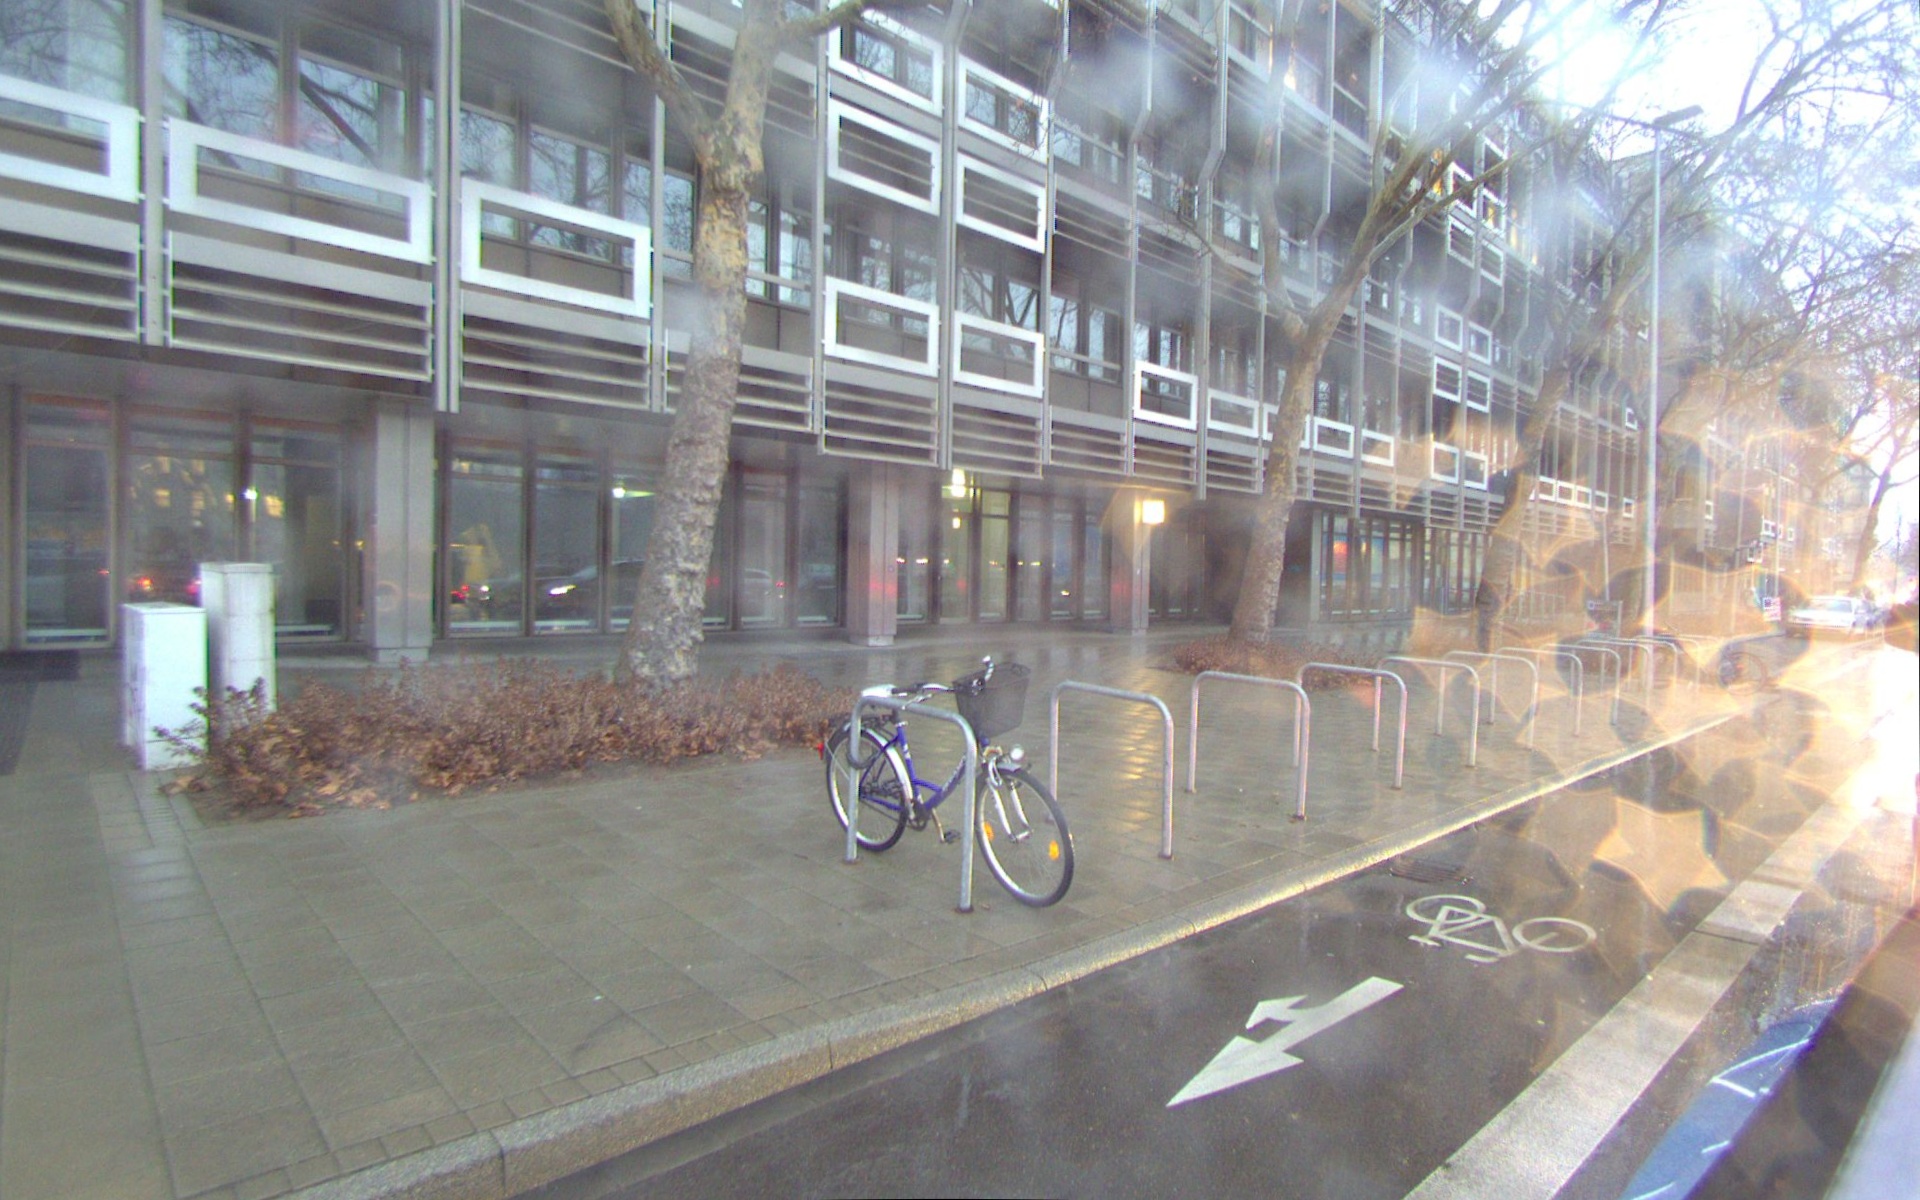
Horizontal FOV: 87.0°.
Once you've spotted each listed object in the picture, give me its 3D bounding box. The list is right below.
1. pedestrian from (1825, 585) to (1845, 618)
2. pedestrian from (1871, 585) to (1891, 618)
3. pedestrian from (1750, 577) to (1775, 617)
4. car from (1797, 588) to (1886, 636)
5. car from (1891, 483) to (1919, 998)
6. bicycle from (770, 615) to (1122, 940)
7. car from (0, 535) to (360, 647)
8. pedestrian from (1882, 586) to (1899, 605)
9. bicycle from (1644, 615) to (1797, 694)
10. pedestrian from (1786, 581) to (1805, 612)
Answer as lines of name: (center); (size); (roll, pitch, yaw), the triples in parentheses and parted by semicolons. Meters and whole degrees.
pedestrian: (48.085, 0.090, 55.611); (0.765, 1.771, 0.913); (2, 2, 45)
pedestrian: (50.629, 0.076, 55.639); (0.765, 1.771, 0.913); (2, 2, 45)
pedestrian: (36.743, -0.156, 46.330); (0.765, 1.771, 0.913); (2, 2, 45)
car: (29.398, 0.355, 33.731); (3.930, 1.482, 1.711); (-1, 1, -41)
car: (5.503, 0.493, 4.327); (3.931, 1.864, 1.876); (-1, 0, -42)
bicycle: (-0.152, 0.716, 4.863); (0.629, 1.145, 1.810); (2, 2, -41)
car: (-10.736, -0.163, 14.010); (3.929, 1.326, 1.998); (0, 3, -40)
pedestrian: (67.402, -0.336, 73.306); (0.738, 1.354, 0.781); (0, 0, -41)
bicycle: (11.682, 0.801, 15.590); (0.864, 1.004, 1.704); (0, 4, -41)
pedestrian: (49.456, -0.224, 59.924); (0.765, 1.771, 0.913); (2, 2, 45)
